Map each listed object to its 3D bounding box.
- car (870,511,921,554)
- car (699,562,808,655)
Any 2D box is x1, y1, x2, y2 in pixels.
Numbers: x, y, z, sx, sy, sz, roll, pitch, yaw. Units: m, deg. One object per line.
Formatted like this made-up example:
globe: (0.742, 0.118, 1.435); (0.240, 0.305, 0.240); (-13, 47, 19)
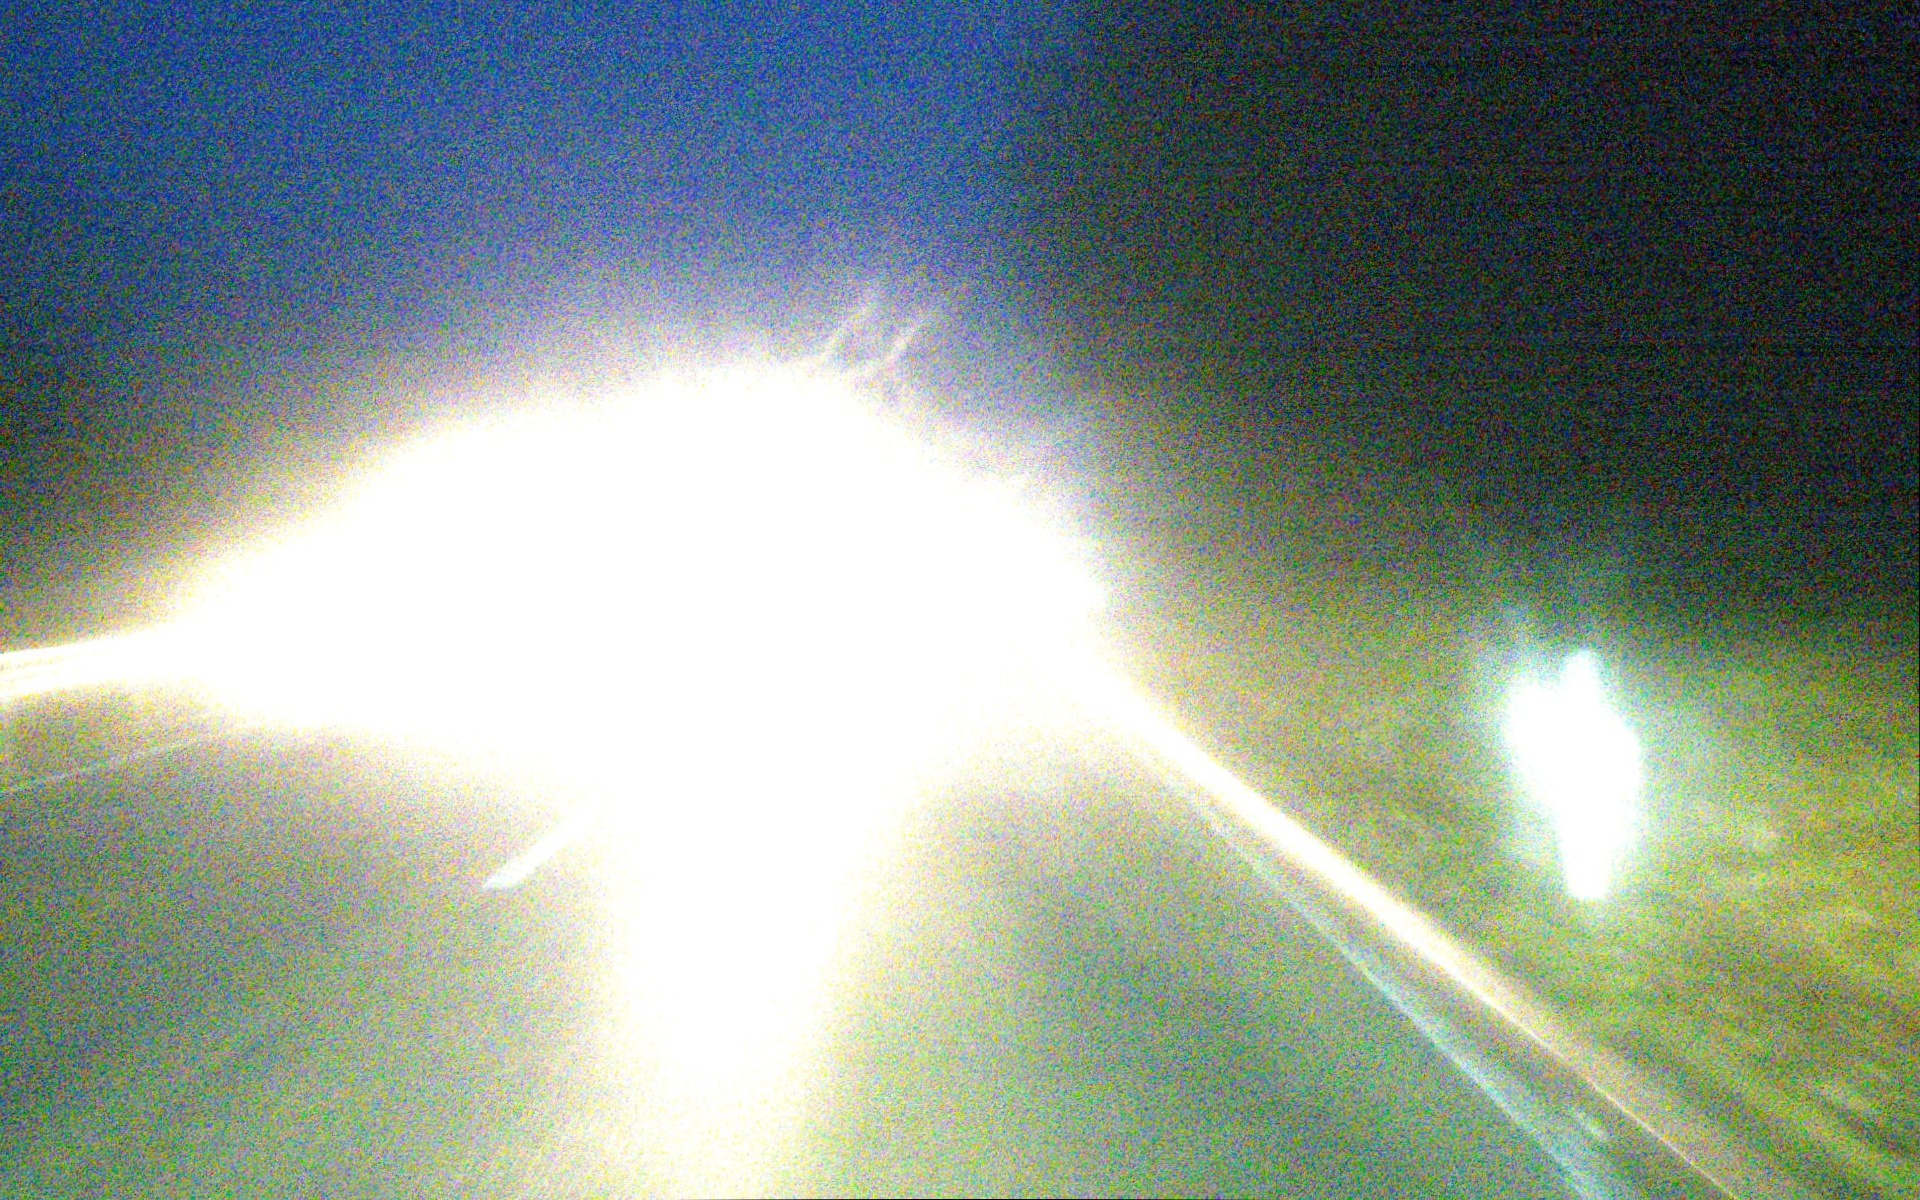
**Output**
car: (-2.531, -2.655, 136.007); (1.993, 1.660, 4.000); (1, 1, -1)
car: (-4.248, 0.145, 71.434); (1.993, 1.818, 4.563); (1, 1, -1)
